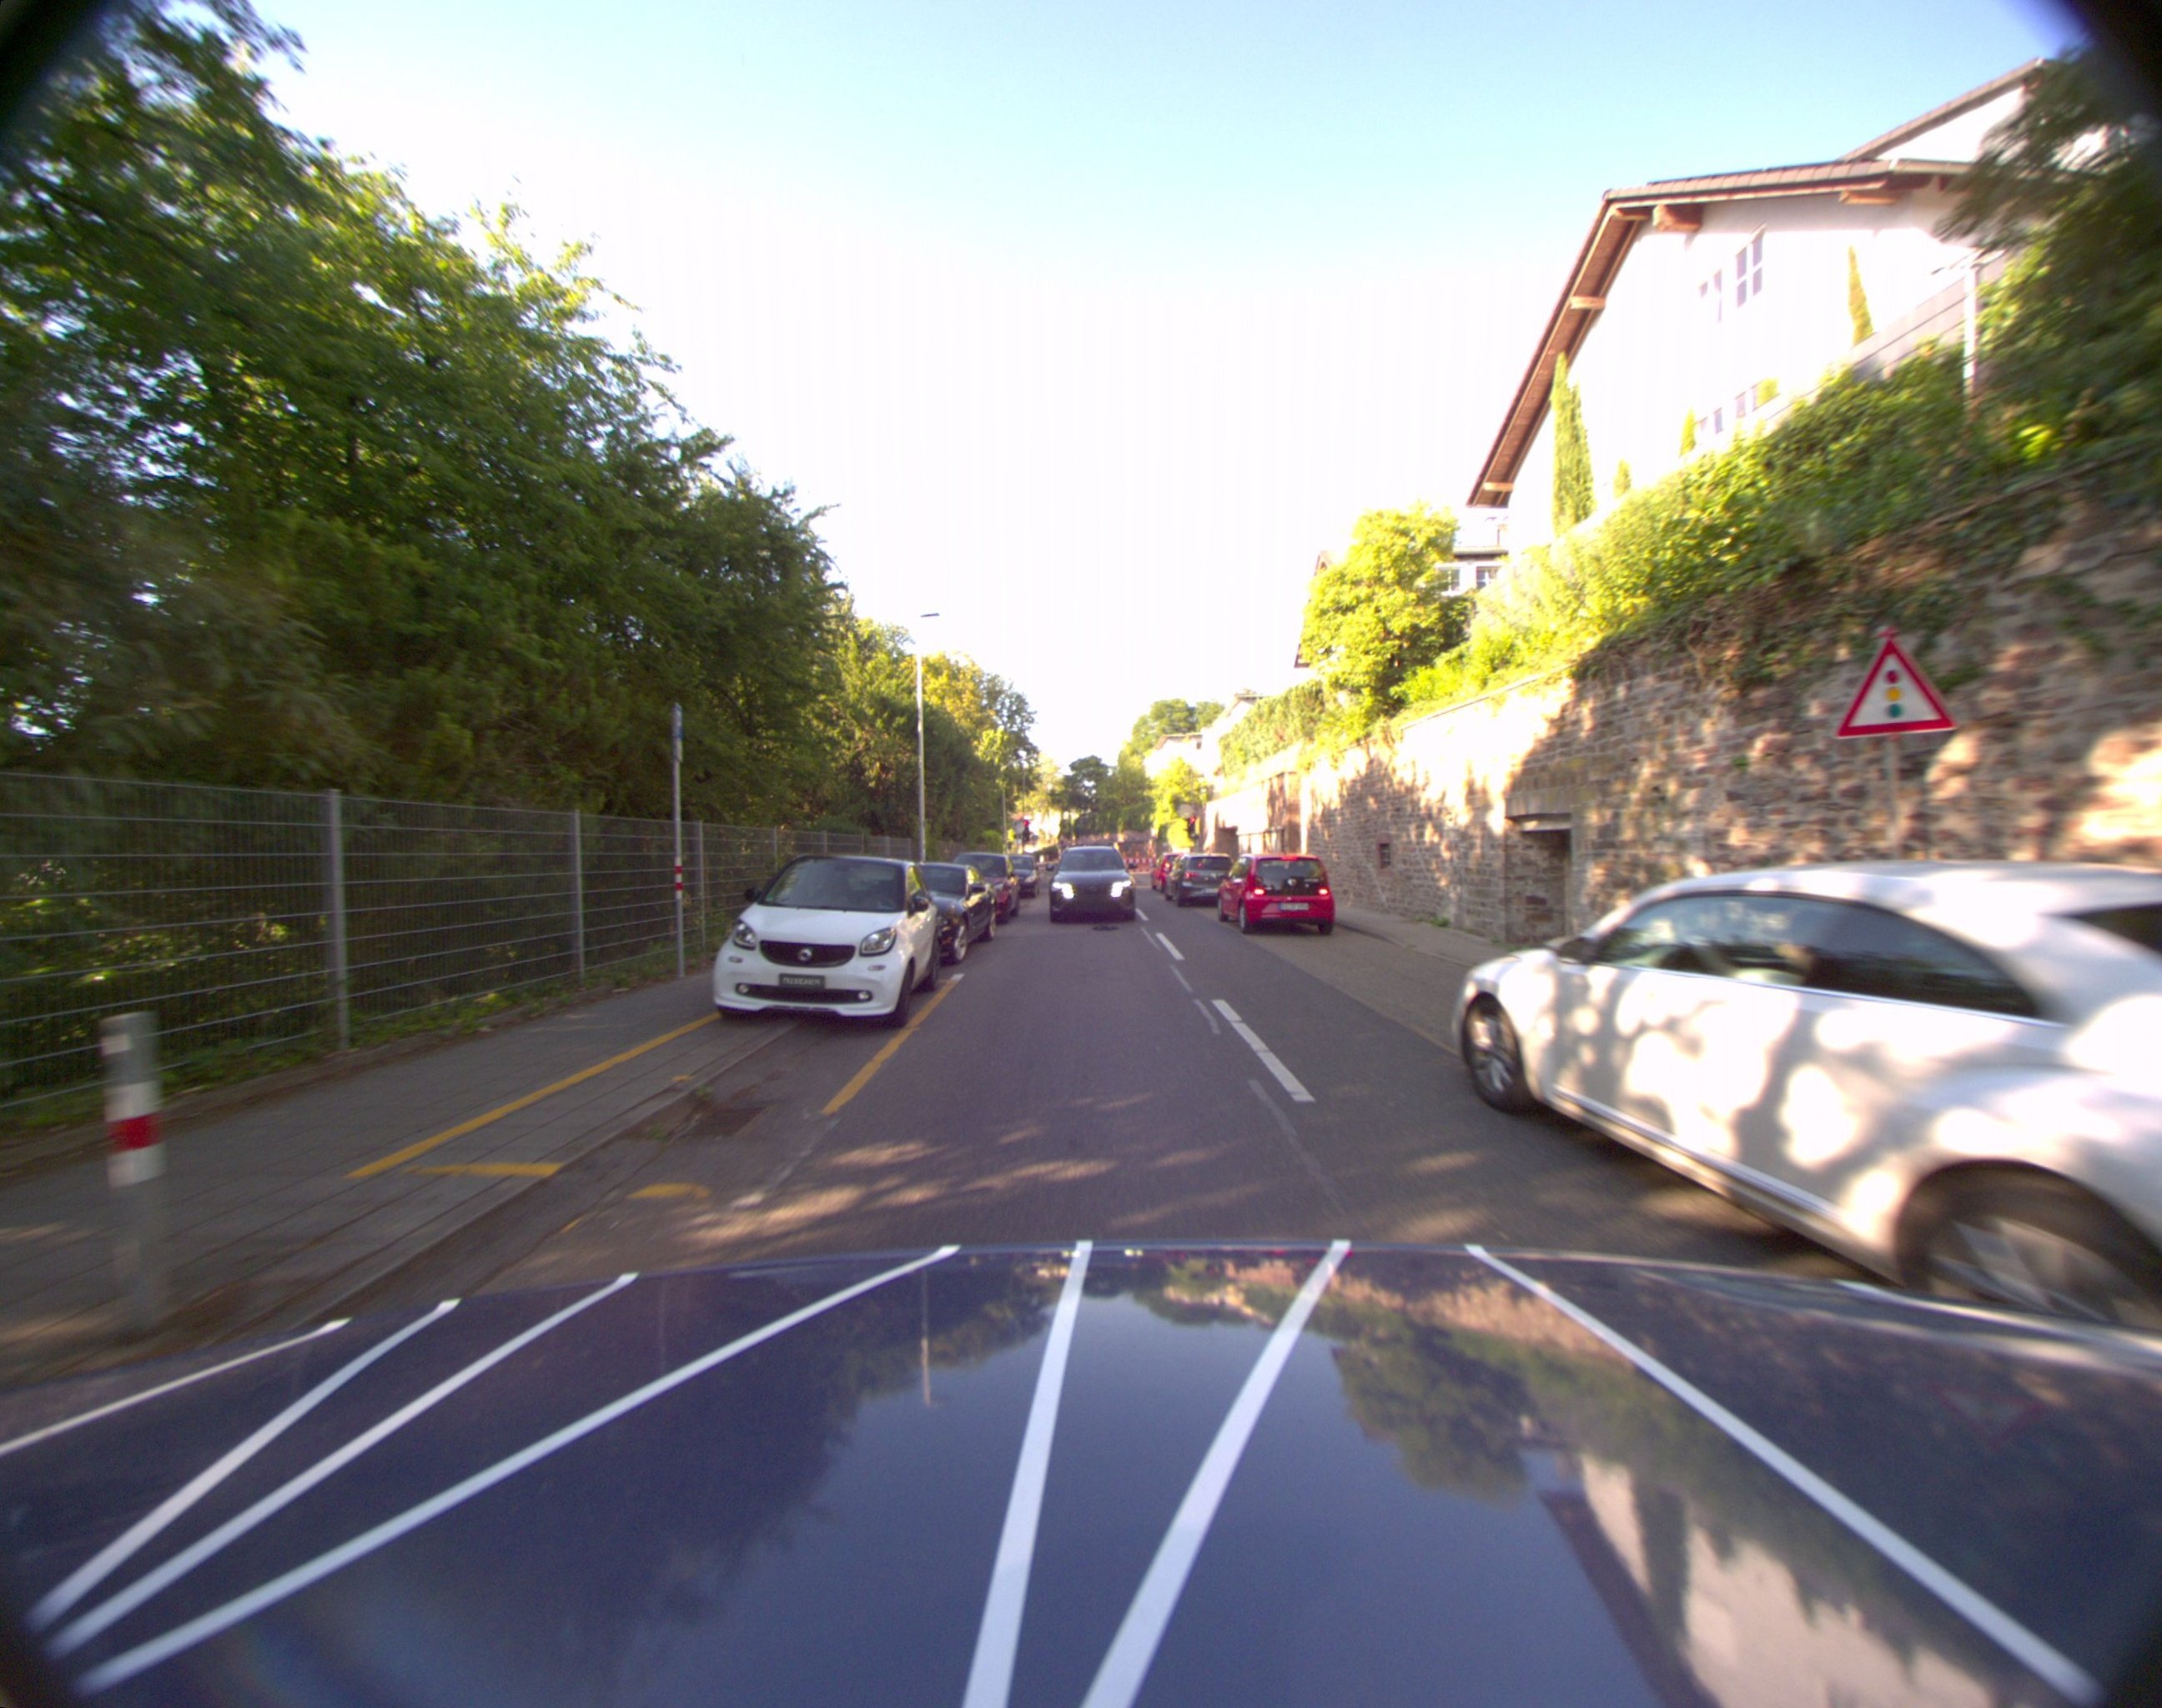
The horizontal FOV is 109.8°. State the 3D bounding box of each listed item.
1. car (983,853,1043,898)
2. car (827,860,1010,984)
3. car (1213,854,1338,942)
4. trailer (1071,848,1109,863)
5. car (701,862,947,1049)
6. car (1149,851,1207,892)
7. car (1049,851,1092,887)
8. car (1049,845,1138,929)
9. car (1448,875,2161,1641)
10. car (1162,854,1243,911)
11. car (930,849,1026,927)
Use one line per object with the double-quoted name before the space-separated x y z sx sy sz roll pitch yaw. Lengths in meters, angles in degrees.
"car" -2.362 0.706 27.286 1.799 1.432 3.999 -1 1 0
"car" -2.403 0.935 12.574 1.714 1.489 4.814 -3 1 3
"car" 3.646 0.764 14.838 1.554 1.458 3.568 1 1 1
"trailer" 0.880 0.129 81.724 2.649 1.481 7.110 -2 1 -11
"car" -2.371 0.861 7.725 1.629 1.501 2.902 1 0 -3
"car" 3.595 0.621 28.578 1.631 1.413 3.562 0 1 -2
"car" -0.435 0.628 34.735 1.662 1.468 3.683 -2 1 3
"car" 0.180 0.664 18.006 1.788 1.639 4.472 -3 1 -2
"car" 3.185 0.925 2.787 1.745 1.466 3.999 2 1 1
"car" 3.357 0.737 21.601 1.653 1.403 3.930 0 1 0
"car" -2.321 0.719 17.795 1.657 1.555 2.872 3 1 2
